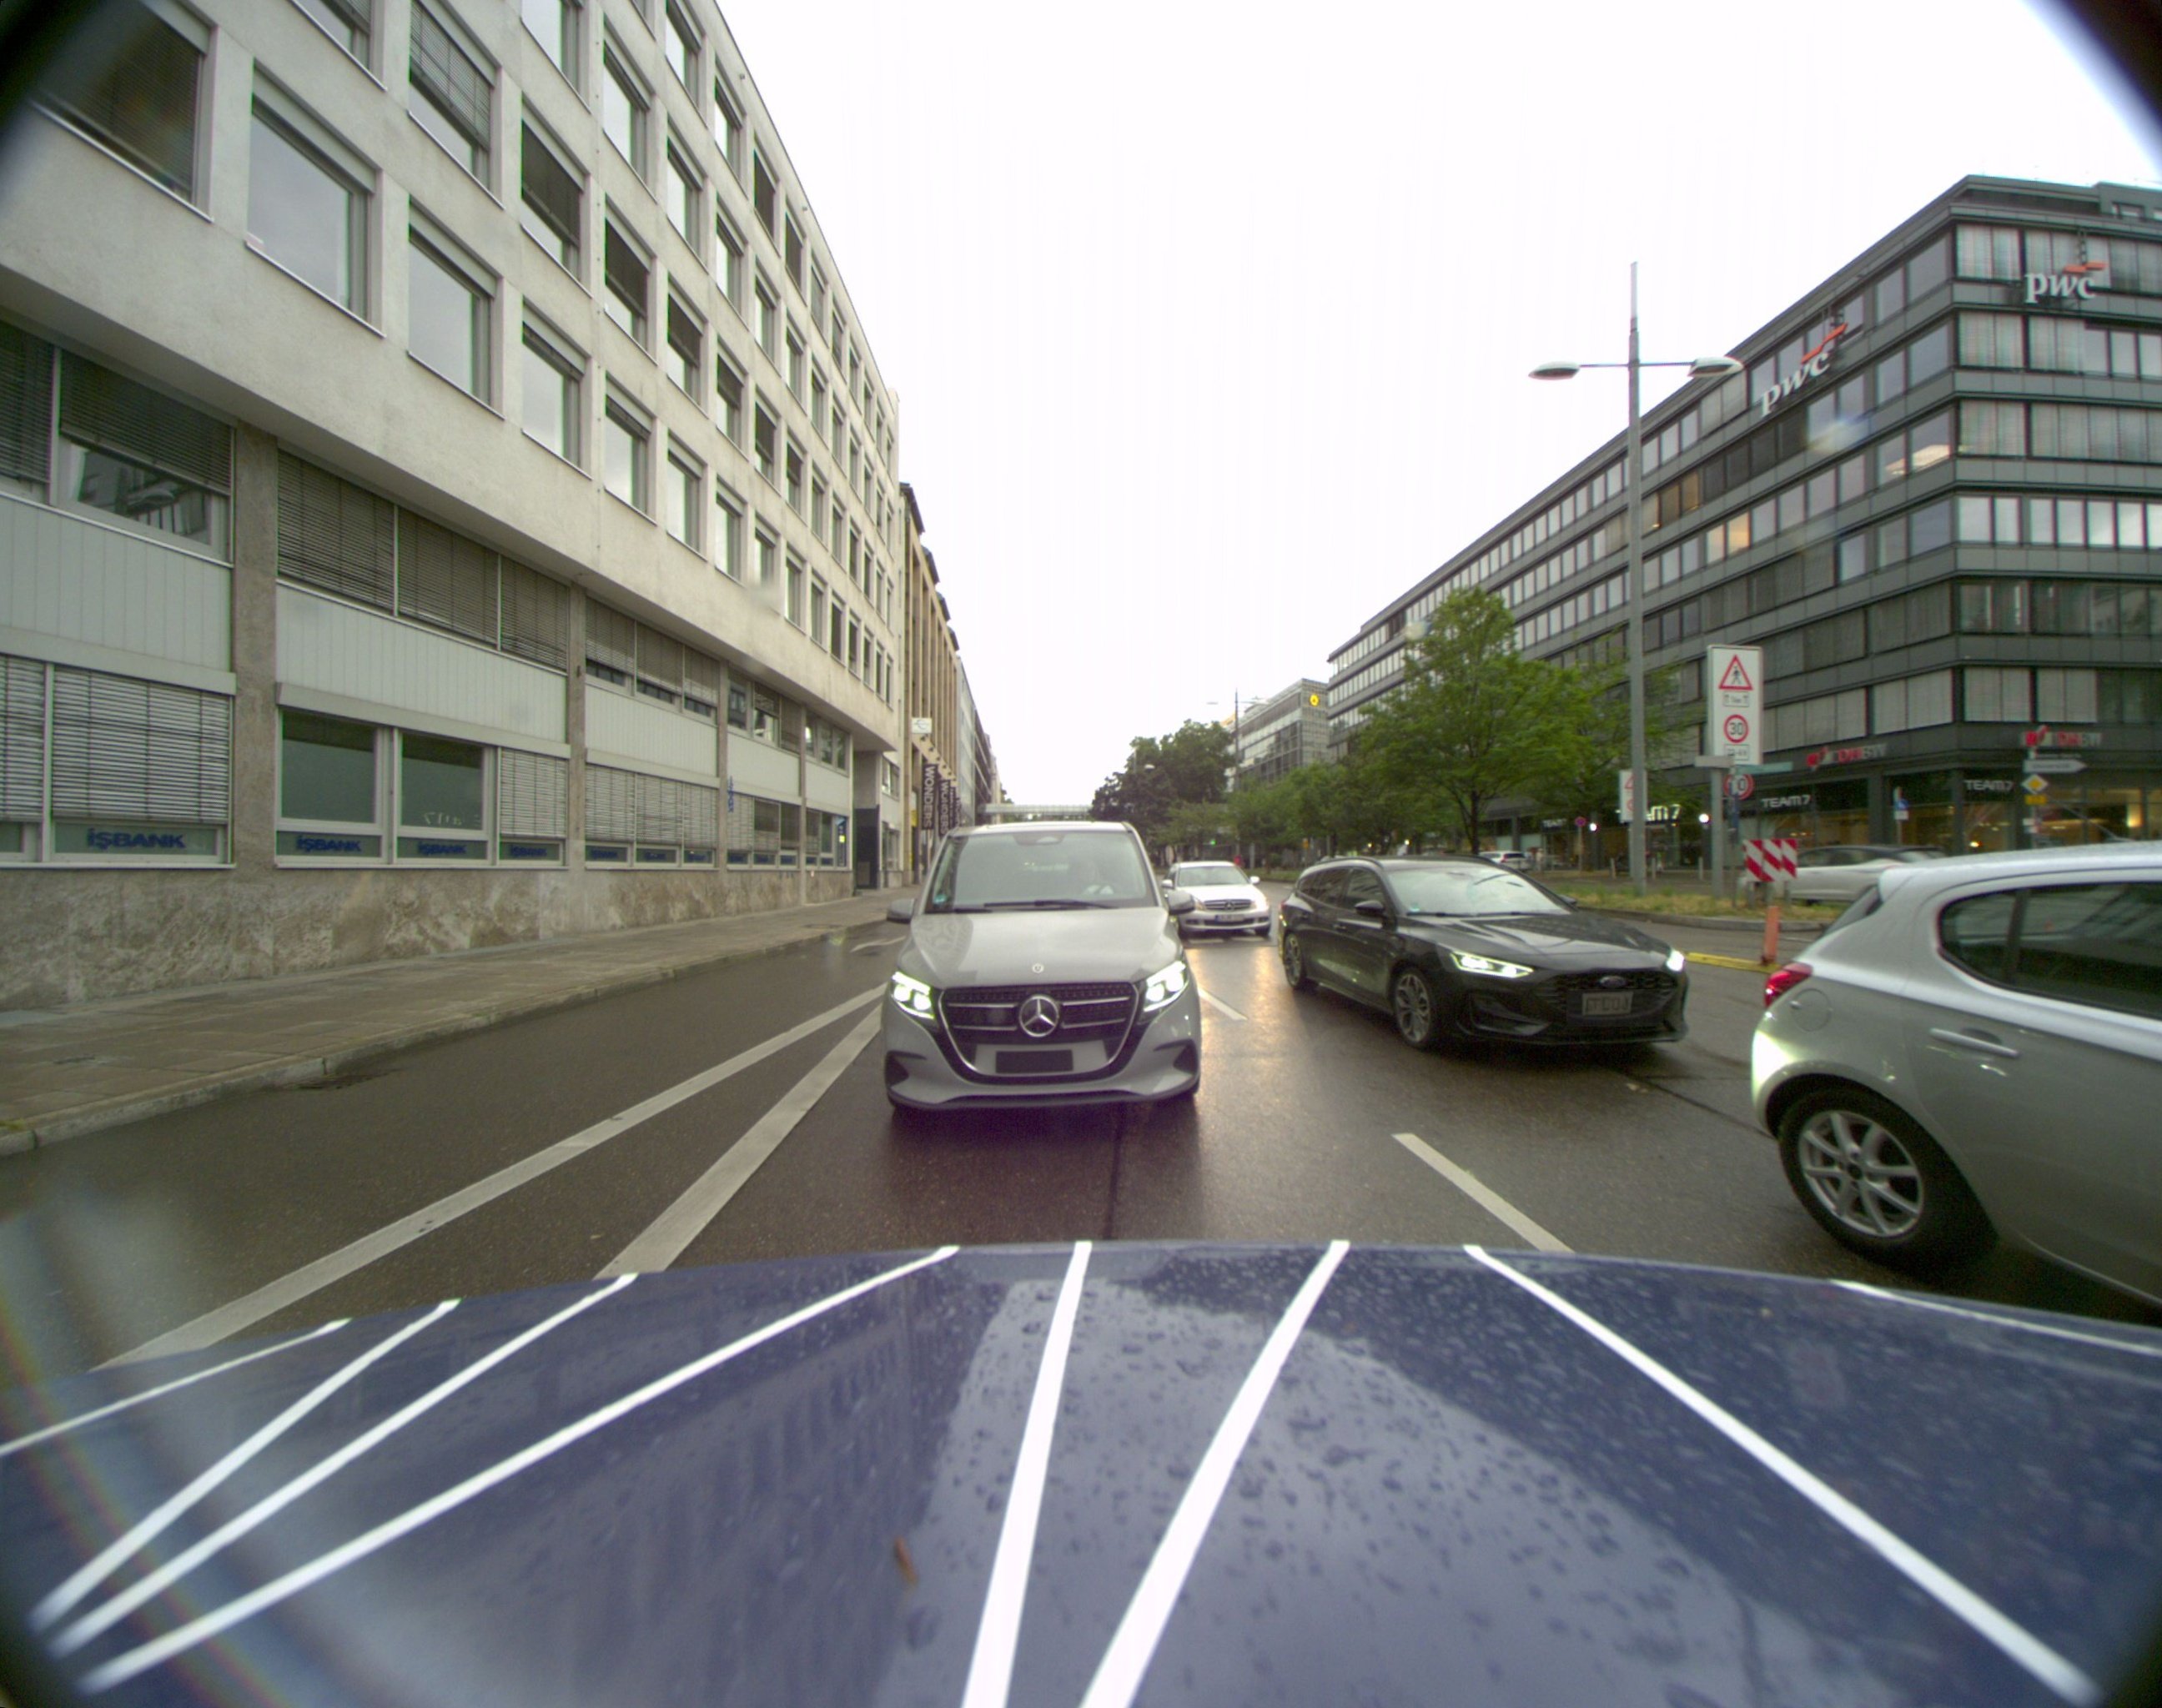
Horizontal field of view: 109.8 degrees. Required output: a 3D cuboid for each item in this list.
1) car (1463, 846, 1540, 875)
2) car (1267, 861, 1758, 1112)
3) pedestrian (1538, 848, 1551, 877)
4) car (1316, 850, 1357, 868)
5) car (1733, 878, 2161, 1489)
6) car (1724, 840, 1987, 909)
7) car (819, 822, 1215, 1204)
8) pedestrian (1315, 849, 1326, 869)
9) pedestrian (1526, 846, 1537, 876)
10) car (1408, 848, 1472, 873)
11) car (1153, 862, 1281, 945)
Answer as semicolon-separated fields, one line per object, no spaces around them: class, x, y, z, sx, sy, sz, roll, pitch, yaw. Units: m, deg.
car;24.084;0.363;43.716;1.999;1.498;3.998;-2;0;-4
car;3.158;0.820;6.685;1.776;1.427;4.093;-2;0;-4
pedestrian;32.313;0.593;52.946;0.575;2.002;0.461;-2;1;-5
car;22.369;0.423;66.718;1.999;1.498;3.998;-2;0;-4
car;3.490;0.834;1.138;1.652;1.427;3.875;-2;0;0
car;17.810;0.436;17.782;1.752;1.364;3.996;-2;0;-11
car;-0.336;0.802;6.320;1.916;1.844;5.026;-2;0;0
pedestrian;25.248;0.514;80.260;0.928;2.002;0.539;-2;0;-1
pedestrian;30.779;0.461;51.924;0.541;2.002;0.297;-2;1;-5
car;23.625;0.420;50.174;1.999;1.498;4.106;-2;0;-4
car;2.616;0.906;15.564;1.776;1.372;4.094;-2;0;-1
